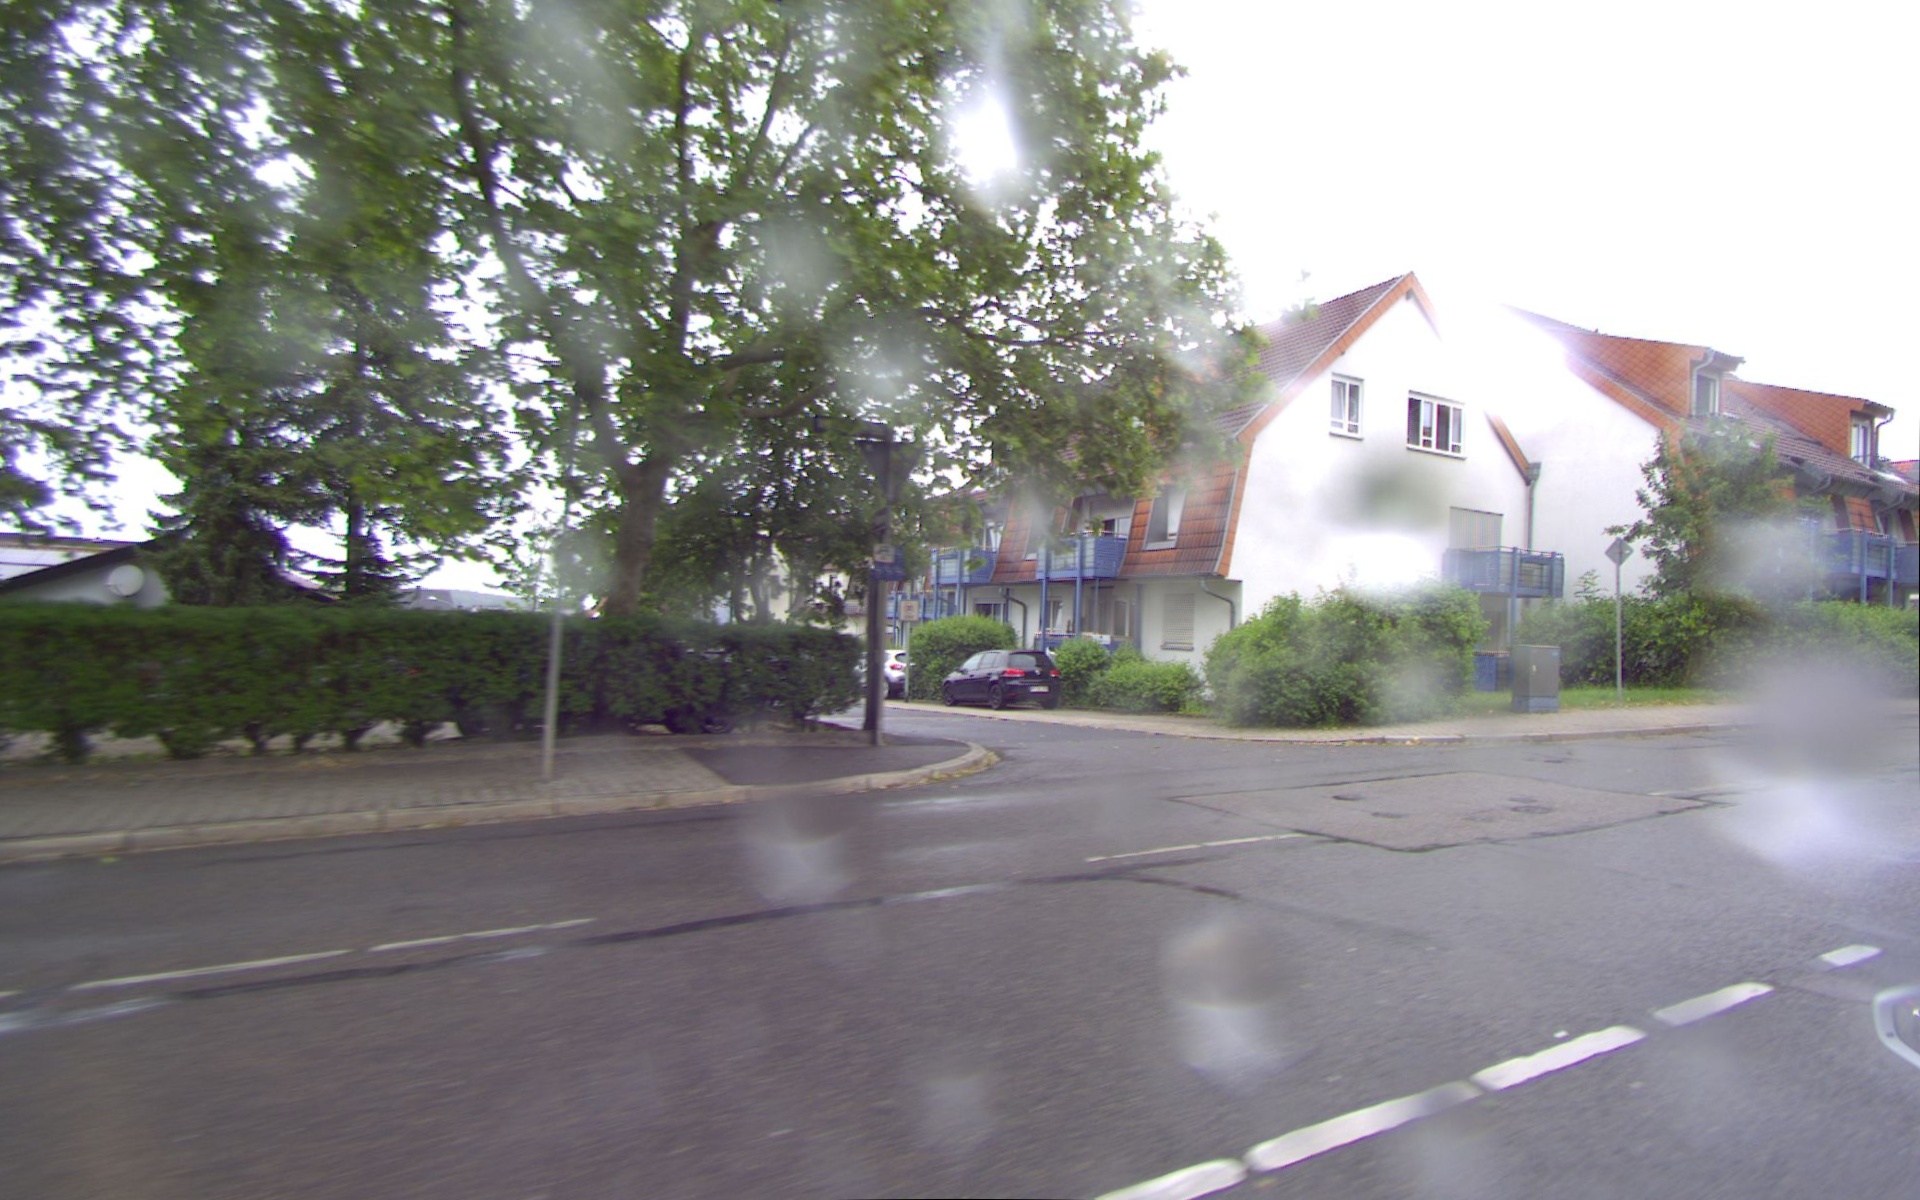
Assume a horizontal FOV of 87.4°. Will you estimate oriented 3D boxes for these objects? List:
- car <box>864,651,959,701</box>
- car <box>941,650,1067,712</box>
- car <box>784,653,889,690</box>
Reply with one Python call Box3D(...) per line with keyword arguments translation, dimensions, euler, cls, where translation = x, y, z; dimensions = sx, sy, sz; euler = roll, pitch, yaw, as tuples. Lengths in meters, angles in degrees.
Box3D(translation=(-1.597, 2.383, 31.674), dimensions=(1.714, 1.460, 3.978), euler=(1, -4, -24), cls="car")
Box3D(translation=(1.050, 2.025, 26.080), dimensions=(1.714, 1.461, 3.978), euler=(1, -3, -24), cls="car")
Box3D(translation=(-5.074, 2.918, 41.331), dimensions=(3.958, 1.460, 1.723), euler=(2, -4, -33), cls="car")
